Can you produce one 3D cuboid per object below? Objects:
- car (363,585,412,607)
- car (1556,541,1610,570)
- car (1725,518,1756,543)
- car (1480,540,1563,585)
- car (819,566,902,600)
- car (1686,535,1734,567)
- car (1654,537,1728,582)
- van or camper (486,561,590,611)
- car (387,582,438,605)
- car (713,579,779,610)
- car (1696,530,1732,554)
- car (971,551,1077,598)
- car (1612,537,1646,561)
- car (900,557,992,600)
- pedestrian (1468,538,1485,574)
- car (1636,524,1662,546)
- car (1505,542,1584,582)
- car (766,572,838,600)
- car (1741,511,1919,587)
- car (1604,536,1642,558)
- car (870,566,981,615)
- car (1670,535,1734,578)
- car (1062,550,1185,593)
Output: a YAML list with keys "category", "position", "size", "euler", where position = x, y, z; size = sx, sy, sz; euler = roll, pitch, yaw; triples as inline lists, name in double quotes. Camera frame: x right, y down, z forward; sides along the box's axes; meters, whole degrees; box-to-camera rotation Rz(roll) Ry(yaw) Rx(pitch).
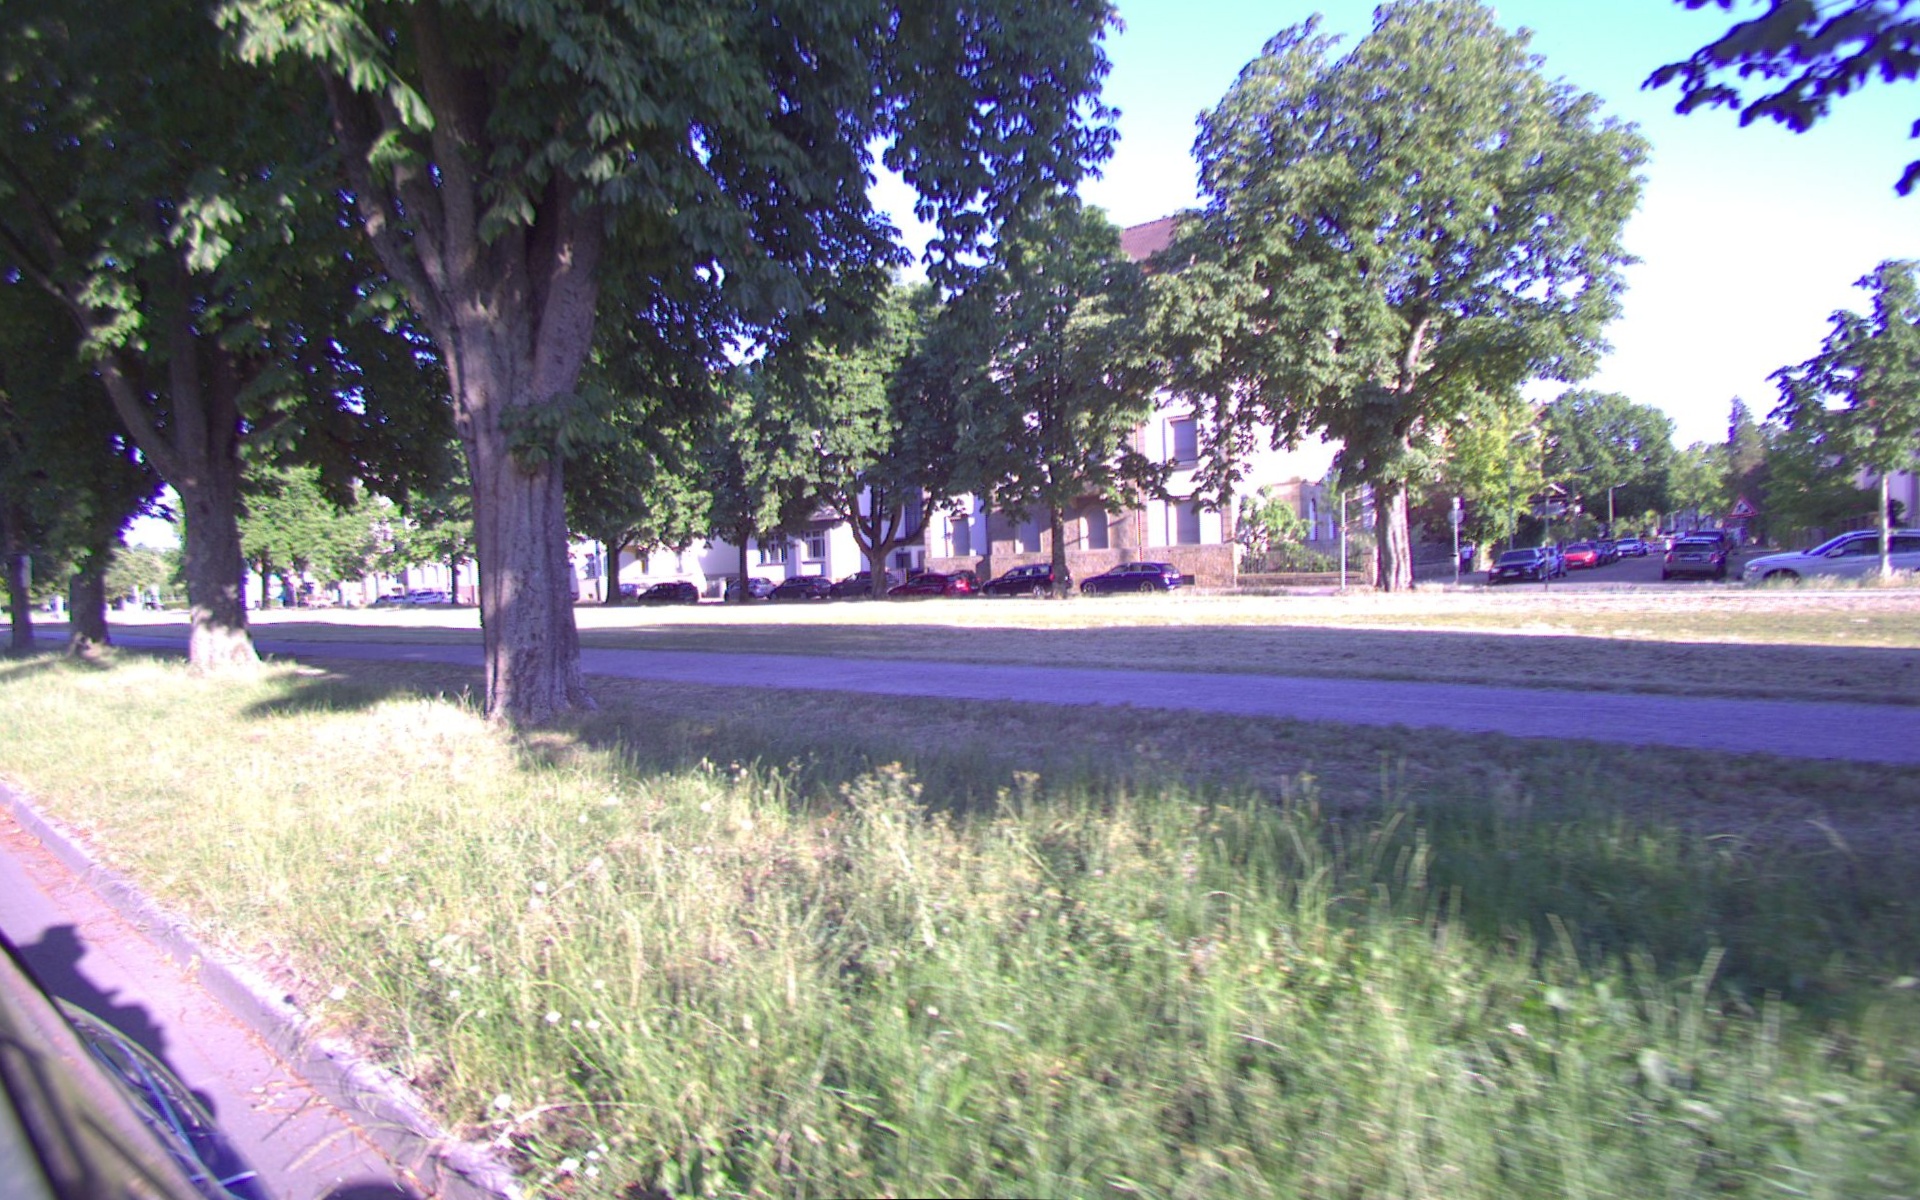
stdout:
- category: "car"
  position: [-47.928, -0.356, 84.701]
  size: [4.873, 1.703, 1.973]
  euler: [-1, 2, 41]
- category: "car"
  position: [35.746, -2.550, 58.049]
  size: [1.999, 1.497, 3.946]
  euler: [-1, 2, 41]
- category: "car"
  position: [71.795, -6.375, 93.128]
  size: [1.996, 2.194, 3.953]
  euler: [-1, 2, 35]
- category: "car"
  position: [23.069, -1.563, 41.510]
  size: [1.999, 1.619, 4.805]
  euler: [-1, 2, 41]
- category: "car"
  position: [-5.478, -0.913, 55.535]
  size: [4.425, 1.664, 1.974]
  euler: [-1, 2, 39]
- category: "car"
  position: [40.132, -2.619, 54.130]
  size: [1.834, 1.585, 3.858]
  euler: [-1, 2, 40]
- category: "car"
  position: [27.162, -1.533, 37.575]
  size: [1.864, 1.497, 3.946]
  euler: [-1, 2, 41]
- category: "van or camper"
  position: [-28.524, -0.898, 68.214]
  size: [7.893, 3.134, 3.221]
  euler: [-1, 2, 41]
- category: "car"
  position: [-43.810, -0.489, 80.979]
  size: [4.873, 1.703, 1.973]
  euler: [-1, 2, 41]
- category: "car"
  position: [-13.195, -0.321, 62.215]
  size: [3.999, 1.747, 1.972]
  euler: [-1, 2, 42]
- category: "car"
  position: [53.947, -4.149, 72.372]
  size: [1.834, 1.585, 3.858]
  euler: [-1, 2, 40]
- category: "car"
  position: [3.013, -1.190, 48.335]
  size: [4.875, 2.028, 1.972]
  euler: [-1, 2, 42]
- category: "car"
  position: [55.752, -4.252, 84.332]
  size: [1.998, 1.864, 3.949]
  euler: [-1, 2, 39]
- category: "car"
  position: [-0.746, -1.073, 51.539]
  size: [4.425, 2.028, 1.974]
  euler: [-1, 2, 39]
- category: "pedestrian"
  position: [26.437, -2.240, 51.798]
  size: [0.689, 1.820, 0.863]
  euler: [-2, 2, 26]
- category: "car"
  position: [66.192, -6.233, 97.227]
  size: [1.996, 2.028, 3.953]
  euler: [-1, 2, 35]
- category: "car"
  position: [26.566, -1.757, 45.919]
  size: [2.188, 1.619, 4.805]
  euler: [-1, 2, 41]
- category: "car"
  position: [-9.263, -0.798, 59.315]
  size: [4.168, 1.440, 1.972]
  euler: [-1, 2, 42]
- category: "car"
  position: [21.841, -1.239, 24.416]
  size: [4.647, 1.651, 1.801]
  euler: [-1, 2, 41]
- category: "car"
  position: [50.060, -3.994, 76.414]
  size: [1.998, 1.497, 3.949]
  euler: [-1, 2, 39]
- category: "car"
  position: [-1.591, -0.389, 44.759]
  size: [4.875, 2.028, 1.972]
  euler: [-1, 2, 42]
- category: "car"
  position: [29.904, -1.772, 40.755]
  size: [1.834, 1.585, 3.858]
  euler: [-1, 2, 40]
- category: "car"
  position: [7.147, -1.209, 44.499]
  size: [4.997, 1.763, 1.976]
  euler: [0, 1, 36]
